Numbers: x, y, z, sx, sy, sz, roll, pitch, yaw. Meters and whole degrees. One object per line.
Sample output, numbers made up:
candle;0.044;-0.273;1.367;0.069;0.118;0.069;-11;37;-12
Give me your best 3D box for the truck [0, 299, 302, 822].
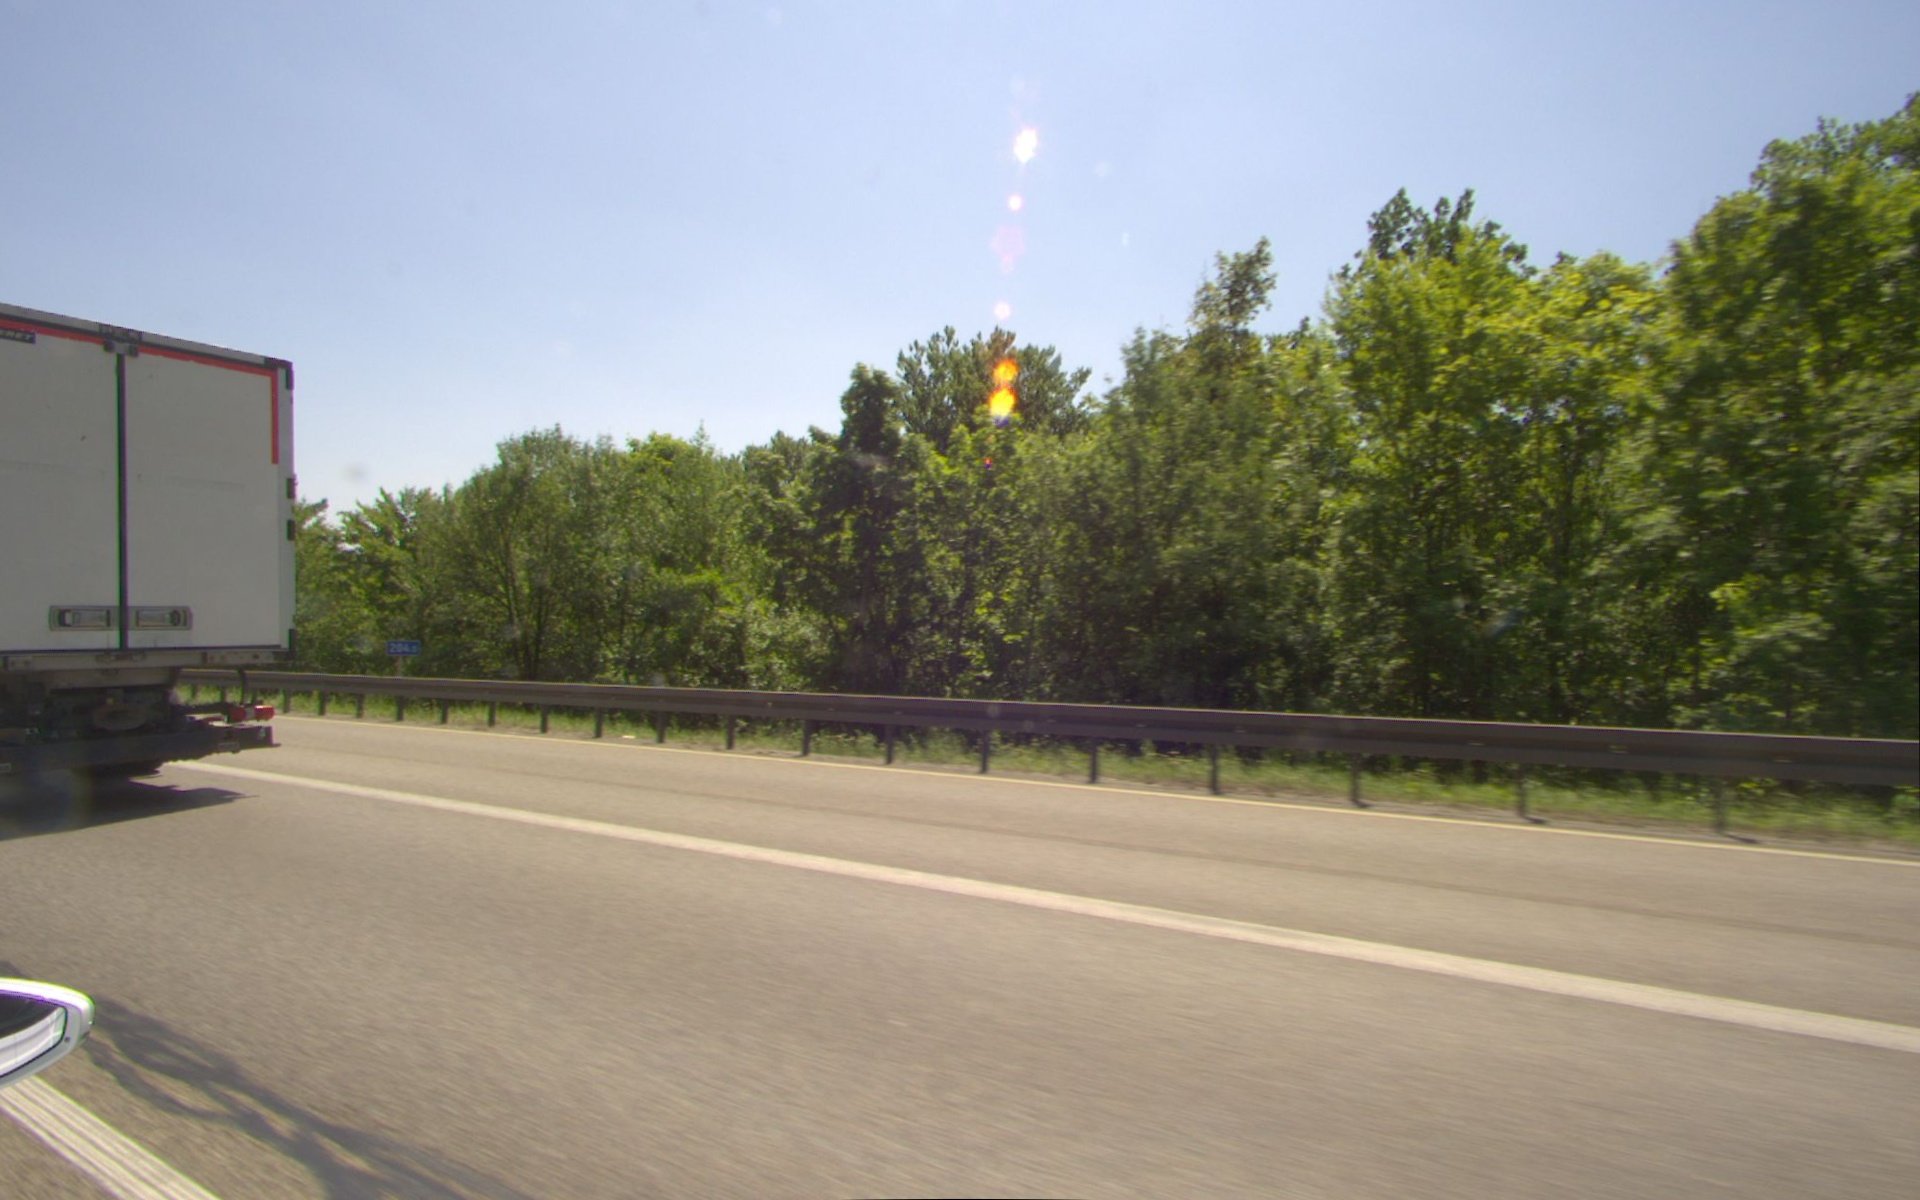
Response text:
truck;-10.840;-0.208;10.799;9.644;3.926;2.682;-1;-1;33
